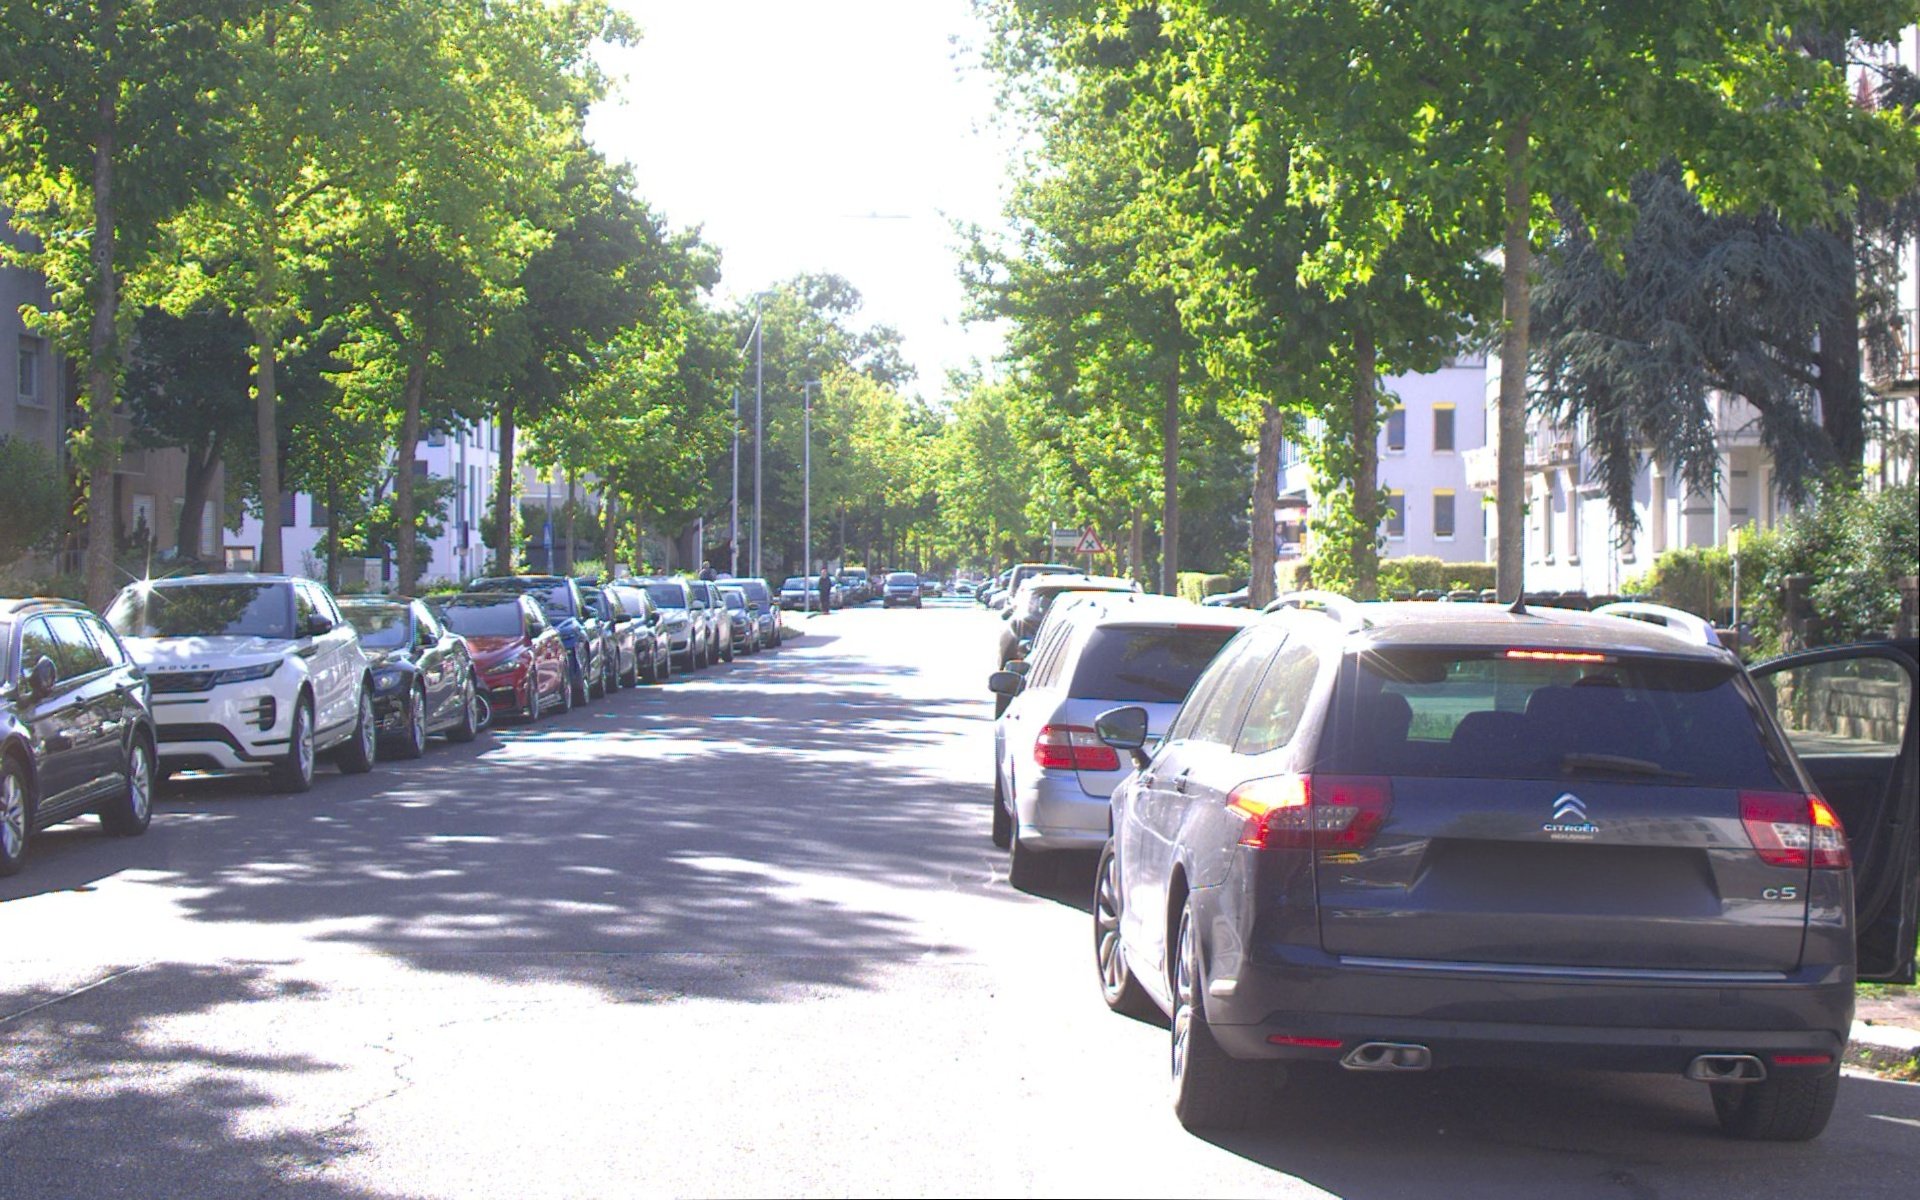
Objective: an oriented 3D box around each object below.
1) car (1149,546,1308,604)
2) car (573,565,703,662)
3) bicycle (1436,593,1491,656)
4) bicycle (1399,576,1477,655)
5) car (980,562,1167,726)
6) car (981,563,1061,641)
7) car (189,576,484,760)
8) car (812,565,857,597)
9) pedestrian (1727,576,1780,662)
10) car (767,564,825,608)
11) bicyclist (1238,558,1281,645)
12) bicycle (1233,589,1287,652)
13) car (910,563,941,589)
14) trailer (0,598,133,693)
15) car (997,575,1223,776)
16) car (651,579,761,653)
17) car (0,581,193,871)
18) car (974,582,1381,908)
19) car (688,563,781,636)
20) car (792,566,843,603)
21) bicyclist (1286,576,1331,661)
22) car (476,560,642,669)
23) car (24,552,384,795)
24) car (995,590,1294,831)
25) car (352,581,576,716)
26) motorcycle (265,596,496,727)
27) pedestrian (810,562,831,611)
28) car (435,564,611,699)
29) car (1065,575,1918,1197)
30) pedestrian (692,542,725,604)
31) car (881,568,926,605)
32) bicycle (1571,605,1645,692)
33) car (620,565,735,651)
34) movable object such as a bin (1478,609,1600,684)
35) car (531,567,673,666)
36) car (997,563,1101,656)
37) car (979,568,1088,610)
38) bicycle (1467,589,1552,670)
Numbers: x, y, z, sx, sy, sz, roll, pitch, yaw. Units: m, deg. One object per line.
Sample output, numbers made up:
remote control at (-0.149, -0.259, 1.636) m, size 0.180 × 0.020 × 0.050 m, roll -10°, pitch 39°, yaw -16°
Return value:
car at (8.927, -0.820, 114.284) m, size 5.070 × 1.816 × 2.000 m, roll 1°, pitch 0°, yaw -33°
car at (-5.475, 0.209, 58.904) m, size 1.811 × 1.590 × 4.233 m, roll 0°, pitch 0°, yaw 0°
bicycle at (7.880, 0.369, 53.887) m, size 0.595 × 0.954 × 1.903 m, roll 0°, pitch 1°, yaw 1°
bicycle at (7.819, 0.248, 56.288) m, size 0.838 × 1.253 × 2.231 m, roll 1°, pitch 0°, yaw -3°
car at (1.310, 0.440, 39.199) m, size 1.926 × 1.646 × 5.095 m, roll 2°, pitch 1°, yaw 2°
car at (1.553, 0.029, 89.367) m, size 1.971 × 1.942 × 4.985 m, roll 0°, pitch 0°, yaw 0°
car at (-5.630, 0.563, 31.562) m, size 1.728 × 1.472 × 4.619 m, roll -3°, pitch 0°, yaw 1°
car at (-6.209, -0.950, 170.519) m, size 1.993 × 1.579 × 4.000 m, roll 0°, pitch 1°, yaw 1°
pedestrian at (10.651, 0.255, 46.176) m, size 0.509 × 1.138 × 0.756 m, roll 1°, pitch 0°, yaw -1°
car at (-6.336, -0.563, 133.441) m, size 1.993 × 1.665 × 4.000 m, roll 0°, pitch 1°, yaw 1°
bicyclist at (5.574, 0.025, 63.992) m, size 0.677 × 1.604 × 0.922 m, roll 0°, pitch 0°, yaw -3°
bicycle at (5.577, 0.372, 64.009) m, size 0.683 × 1.149 × 2.403 m, roll 0°, pitch 0°, yaw -2°
car at (-2.110, -1.498, 213.103) m, size 1.895 × 1.555 × 4.000 m, roll 0°, pitch 1°, yaw 0°
trailer at (-11.154, 0.514, 40.742) m, size 1.789 × 1.030 × 3.281 m, roll 1°, pitch 0°, yaw 3°
car at (1.227, 0.593, 29.618) m, size 1.654 × 1.527 × 3.969 m, roll 3°, pitch 1°, yaw -1°
car at (-5.371, 0.317, 73.216) m, size 1.993 × 1.448 × 4.262 m, roll -2°, pitch 0°, yaw 0°
car at (-5.807, 0.664, 19.658) m, size 1.728 × 1.442 × 4.821 m, roll -2°, pitch 1°, yaw 0°
car at (1.050, 0.683, 18.904) m, size 1.821 × 1.464 × 4.910 m, roll 2°, pitch 1°, yaw -1°
car at (-5.172, -0.024, 79.283) m, size 1.839 × 1.589 × 4.262 m, roll -1°, pitch 0°, yaw 0°
car at (-6.161, -0.686, 148.728) m, size 1.993 × 1.579 × 4.000 m, roll 0°, pitch 1°, yaw 1°
bicyclist at (6.424, 0.331, 63.463) m, size 0.676 × 1.548 × 1.022 m, roll 0°, pitch 0°, yaw -3°
car at (-5.623, 0.181, 48.620) m, size 1.829 × 1.448 × 4.122 m, roll -1°, pitch 0°, yaw 0°
car at (-5.652, 0.495, 26.220) m, size 1.728 × 1.612 × 4.366 m, roll -3°, pitch 0°, yaw 0°
car at (1.179, 0.684, 23.892) m, size 1.710 × 1.406 × 4.862 m, roll 2°, pitch 1°, yaw -1°
car at (-5.483, 0.501, 38.447) m, size 1.779 × 1.374 × 4.262 m, roll -1°, pitch 0°, yaw 1°
motorcycle at (-5.925, 0.617, 35.196) m, size 2.285 × 1.266 × 0.808 m, roll -1°, pitch 1°, yaw -9°
pedestrian at (-5.346, -0.526, 131.740) m, size 0.715 × 1.894 × 0.837 m, roll 0°, pitch 1°, yaw -9°
car at (-5.497, 0.362, 43.667) m, size 1.789 × 1.561 × 4.466 m, roll -2°, pitch 1°, yaw -2°
car at (1.408, 0.722, 11.083) m, size 1.895 × 1.519 × 4.967 m, roll 1°, pitch 0°, yaw -1°
pedestrian at (-8.130, -0.878, 111.161) m, size 0.859 × 2.007 × 0.981 m, roll 0°, pitch 1°, yaw 9°
car at (-2.524, -0.603, 152.934) m, size 1.783 × 1.603 × 4.001 m, roll 0°, pitch 0°, yaw -4°
bicycle at (7.609, 0.555, 40.415) m, size 0.581 × 0.971 × 1.903 m, roll 0°, pitch 1°, yaw 2°
car at (-5.283, 0.130, 64.690) m, size 1.710 × 1.539 × 3.930 m, roll -2°, pitch 0°, yaw 1°
movable object such as a bin at (7.409, 0.579, 43.927) m, size 1.222 × 0.901 × 1.662 m, roll 0°, pitch 1°, yaw 21°
car at (-5.517, 0.229, 53.365) m, size 1.762 × 1.439 × 3.909 m, roll -1°, pitch 0°, yaw 0°
car at (1.747, 0.169, 68.908) m, size 1.907 × 1.693 × 4.313 m, roll 3°, pitch 1°, yaw 0°
car at (2.783, -0.414, 130.801) m, size 3.986 × 1.581 × 1.727 m, roll 0°, pitch 1°, yaw -3°
bicycle at (7.874, 0.409, 49.338) m, size 0.803 × 1.111 × 2.000 m, roll 1°, pitch 0°, yaw -2°
